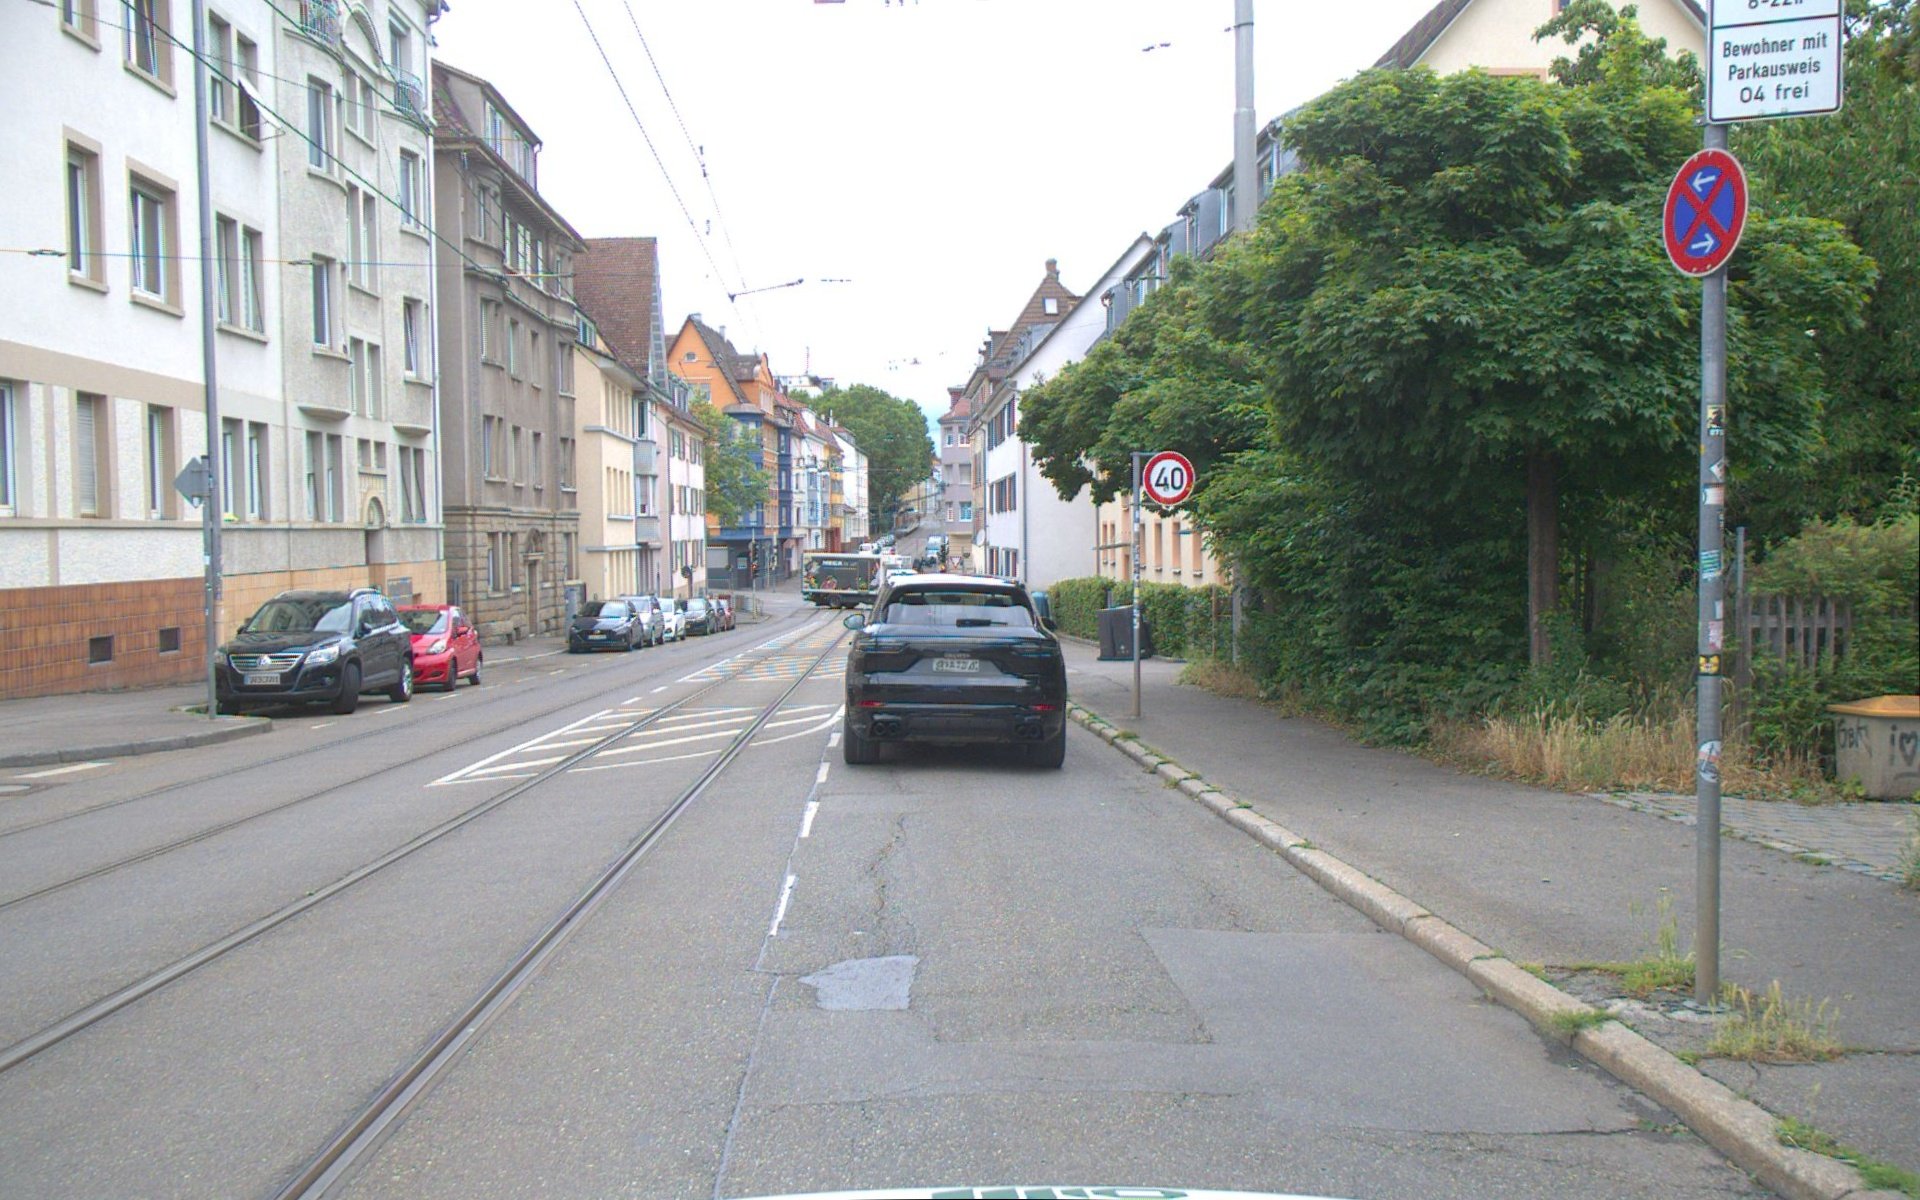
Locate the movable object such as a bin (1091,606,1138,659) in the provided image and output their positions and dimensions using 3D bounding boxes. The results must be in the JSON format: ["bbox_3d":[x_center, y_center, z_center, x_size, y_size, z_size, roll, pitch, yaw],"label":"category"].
[{"bbox_3d":[3.087,0.648,33.072,0.777,1.030,0.788,0,0,-6],"label":"movable object such as a bin"}]

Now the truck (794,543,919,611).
[{"bbox_3d":[-6.948,-1.498,110.964,8.398,4.255,2.257,-1,-3,27],"label":"truck"}]

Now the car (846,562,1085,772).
[{"bbox_3d":[-0.051,0.554,15.593,1.954,1.705,3.998,-1,0,-3],"label":"car"}]

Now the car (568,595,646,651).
[{"bbox_3d":[-10.130,0.662,47.670,1.589,1.489,4.029,-1,-1,-4],"label":"car"}]

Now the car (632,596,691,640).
[{"bbox_3d":[-10.529,0.646,58.540,1.589,1.489,3.682,-1,-1,-4],"label":"car"}]

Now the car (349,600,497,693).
[{"bbox_3d":[-9.386,0.793,29.185,1.589,1.489,3.742,-1,-1,-4],"label":"car"}]

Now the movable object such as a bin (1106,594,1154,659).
[{"bbox_3d":[3.300,0.511,32.247,0.777,1.239,0.788,0,0,-6],"label":"movable object such as a bin"}]

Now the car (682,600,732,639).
[{"bbox_3d":[-10.230,0.803,67.113,1.589,1.499,4.552,-1,-1,-4],"label":"car"}]

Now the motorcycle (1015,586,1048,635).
[{"bbox_3d":[2.205,0.325,51.176,0.821,1.482,2.552,-1,0,-2],"label":"motorcycle"}]

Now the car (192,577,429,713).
[{"bbox_3d":[-8.977,0.602,23.269,1.830,1.674,4.398,-1,-1,-4],"label":"car"}]

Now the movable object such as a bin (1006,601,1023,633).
[{"bbox_3d":[1.910,0.605,57.807,0.576,1.099,0.691,-1,0,-1],"label":"movable object such as a bin"}]

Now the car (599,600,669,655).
[{"bbox_3d":[-10.293,0.860,52.493,1.589,1.632,4.347,-1,-1,-4],"label":"car"}]
